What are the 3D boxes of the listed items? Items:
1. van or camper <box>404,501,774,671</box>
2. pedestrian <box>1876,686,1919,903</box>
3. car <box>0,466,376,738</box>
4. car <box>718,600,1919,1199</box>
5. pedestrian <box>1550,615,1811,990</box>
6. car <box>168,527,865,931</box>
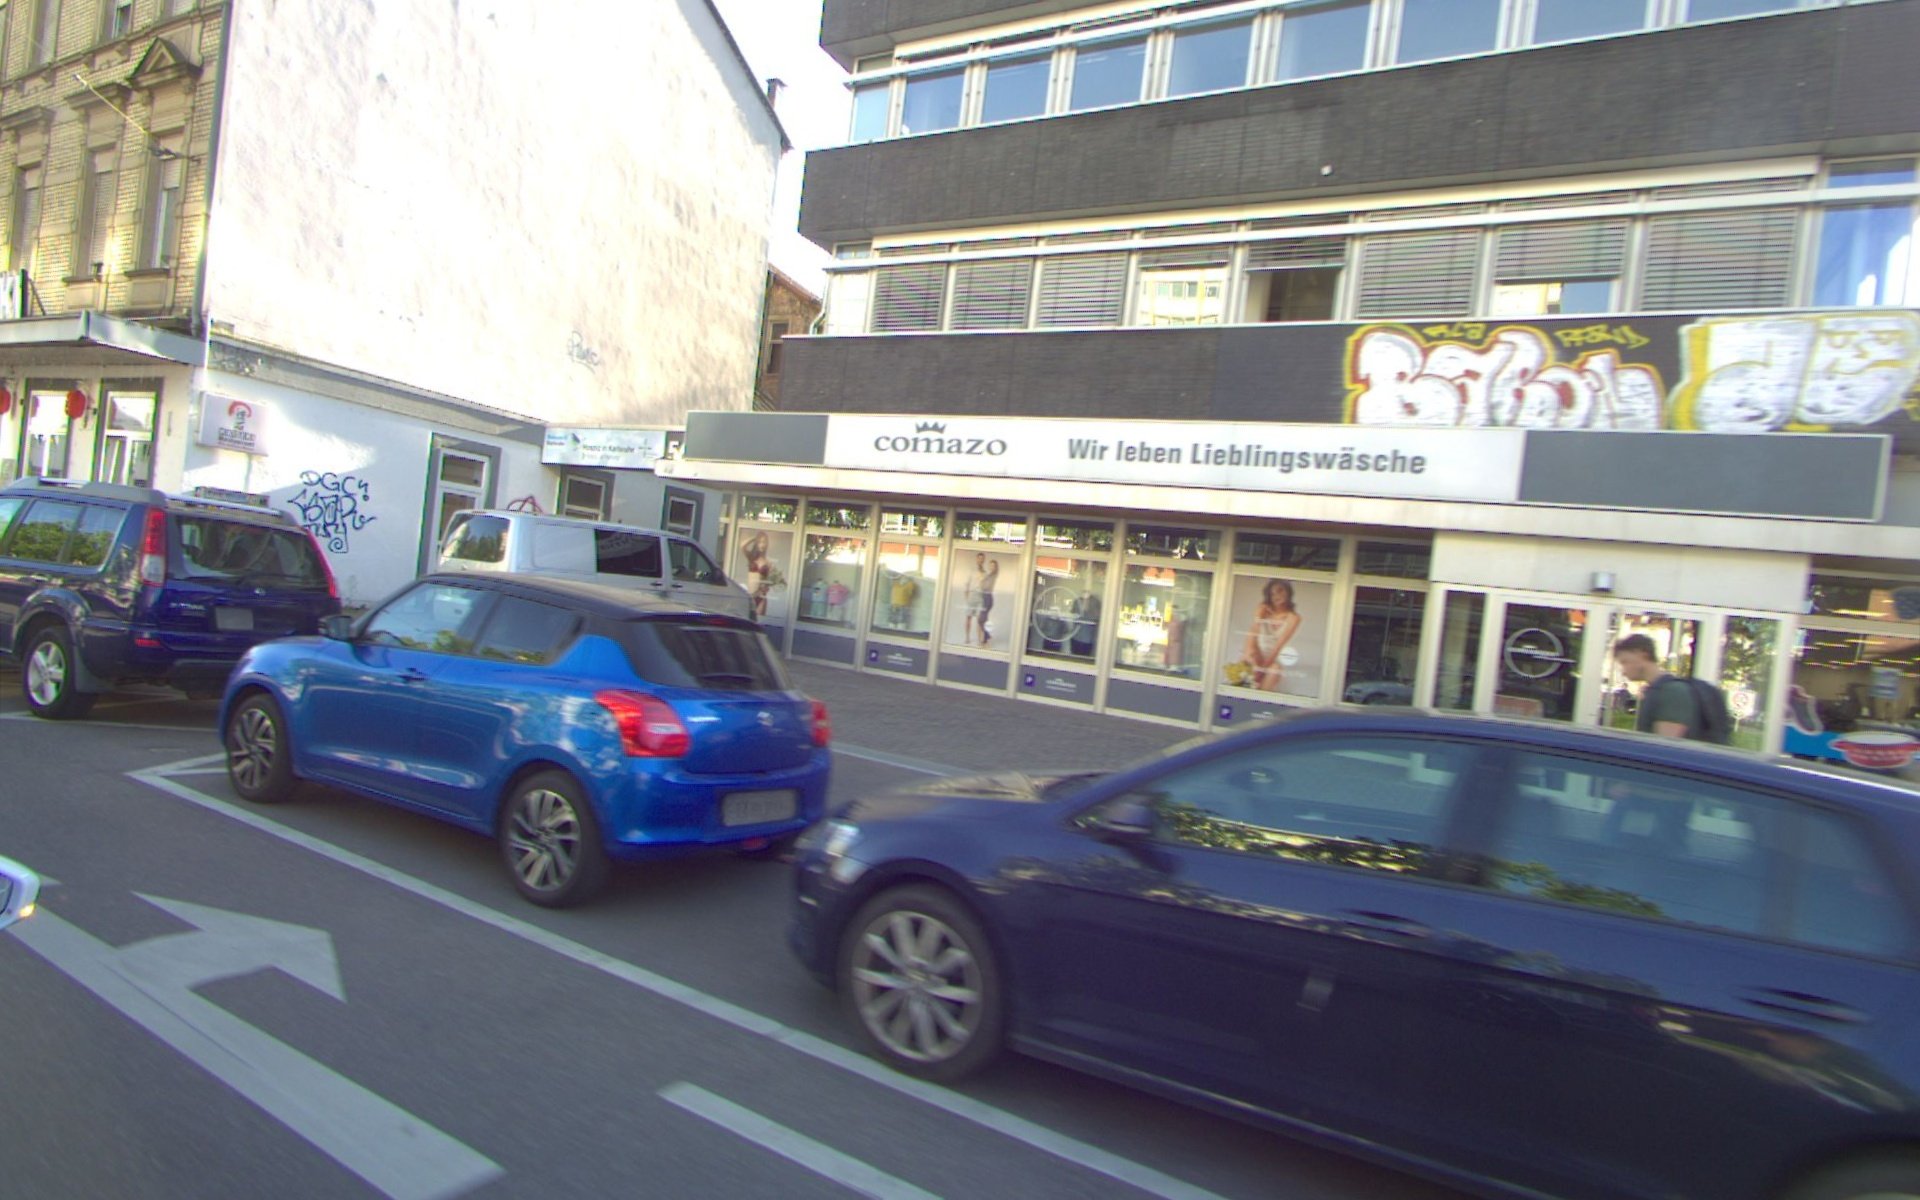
[{"bbox_3d":[-5.124,-0.152,14.585,1.967,1.959,4.691,7,3,33],"label":"van or camper"},{"bbox_3d":[8.315,1.621,8.198,0.901,1.671,1.010,6,4,30],"label":"pedestrian"},{"bbox_3d":[-7.339,-0.108,8.410,4.531,1.733,1.696,7,-2,22],"label":"car"},{"bbox_3d":[1.392,1.019,3.481,4.154,1.500,1.702,6,-2,29],"label":"car"},{"bbox_3d":[4.217,1.123,5.980,1.045,1.934,0.685,6,-1,32],"label":"pedestrian"},{"bbox_3d":[-2.646,0.559,5.892,3.713,1.471,1.718,7,-2,29],"label":"car"}]
